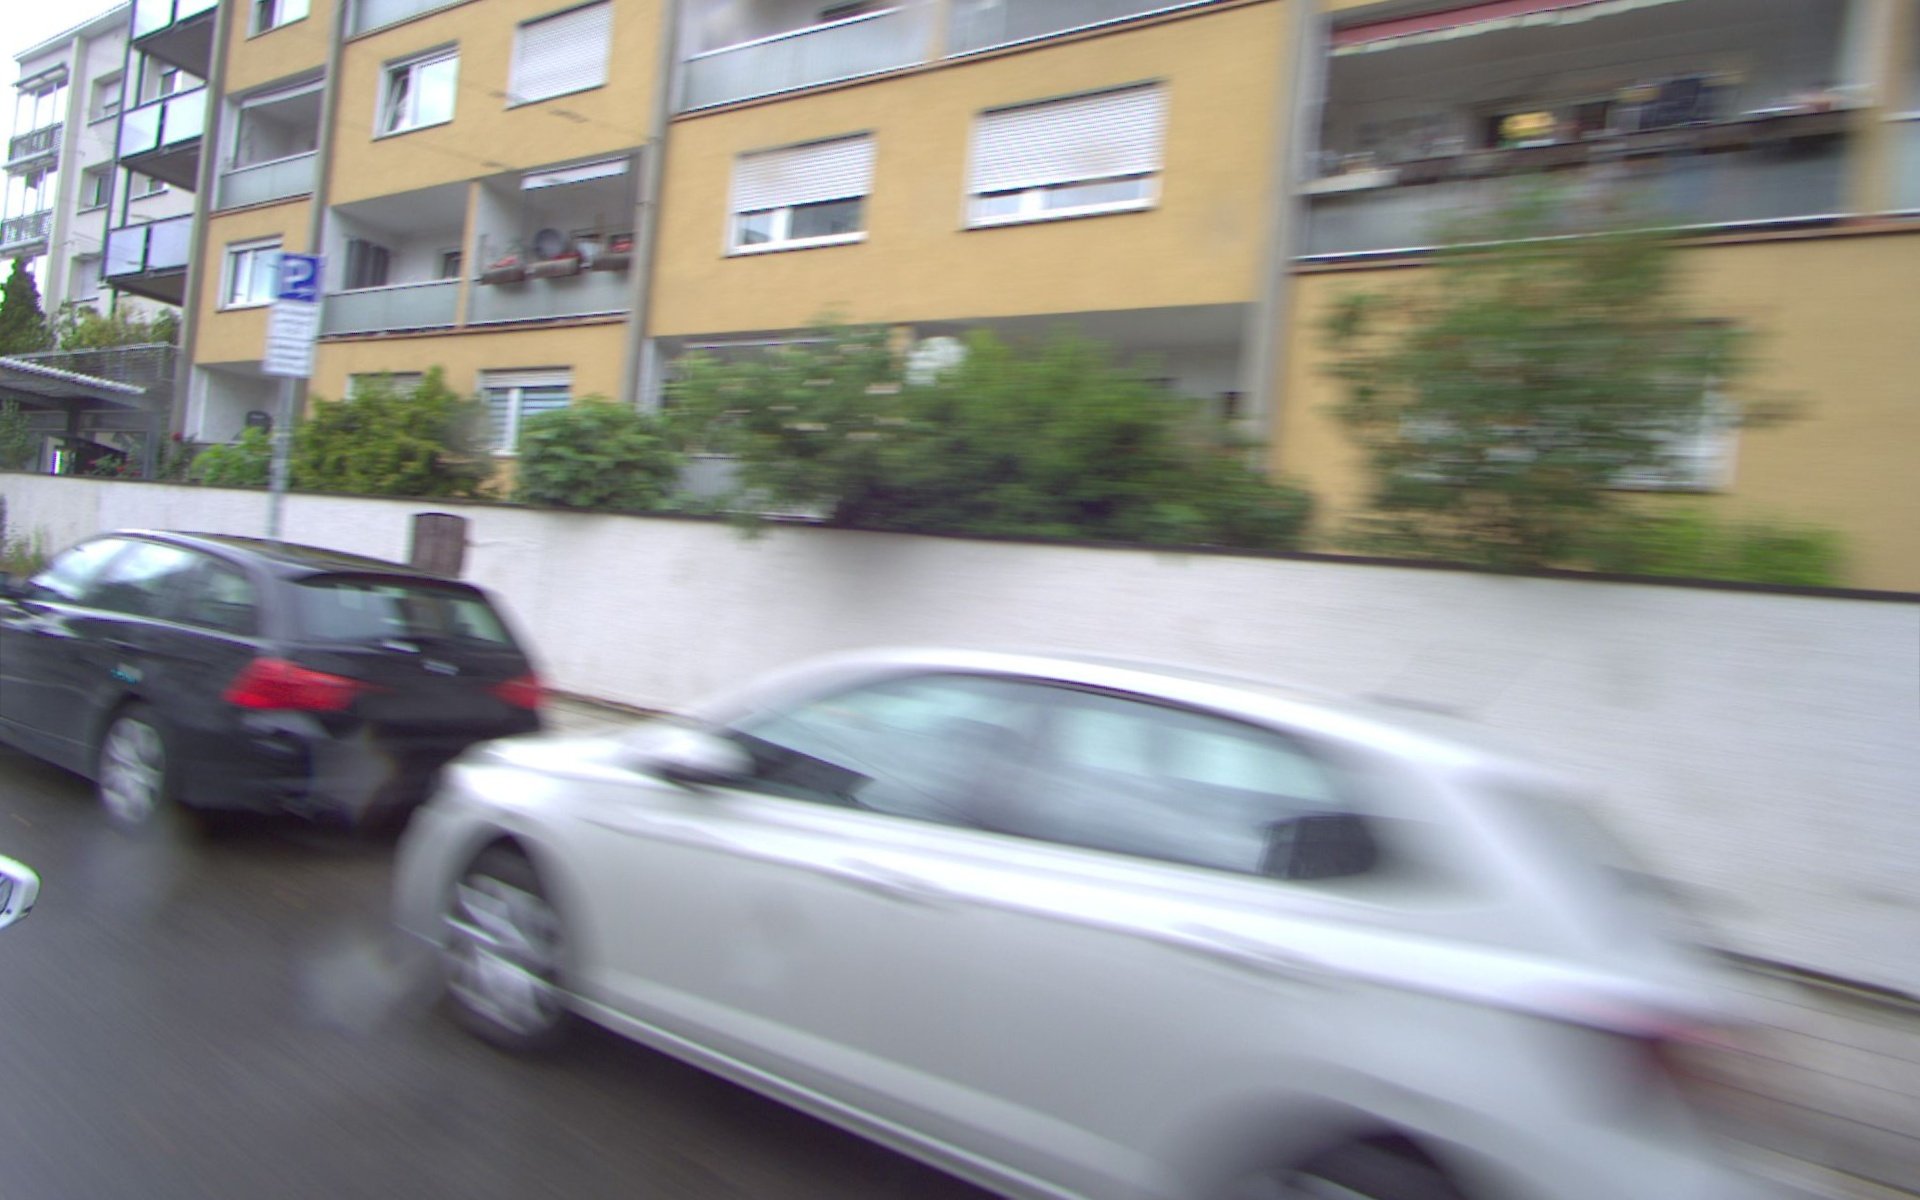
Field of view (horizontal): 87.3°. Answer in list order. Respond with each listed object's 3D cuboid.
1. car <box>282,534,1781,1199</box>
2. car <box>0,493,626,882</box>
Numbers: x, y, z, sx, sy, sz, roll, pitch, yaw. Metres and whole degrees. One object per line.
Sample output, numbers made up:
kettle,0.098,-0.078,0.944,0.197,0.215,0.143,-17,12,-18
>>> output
car,-0.143,0.733,3.297,4.032,1.476,1.652,5,-2,28
car,-4.213,0.290,5.804,4.402,1.476,1.734,5,-2,30
